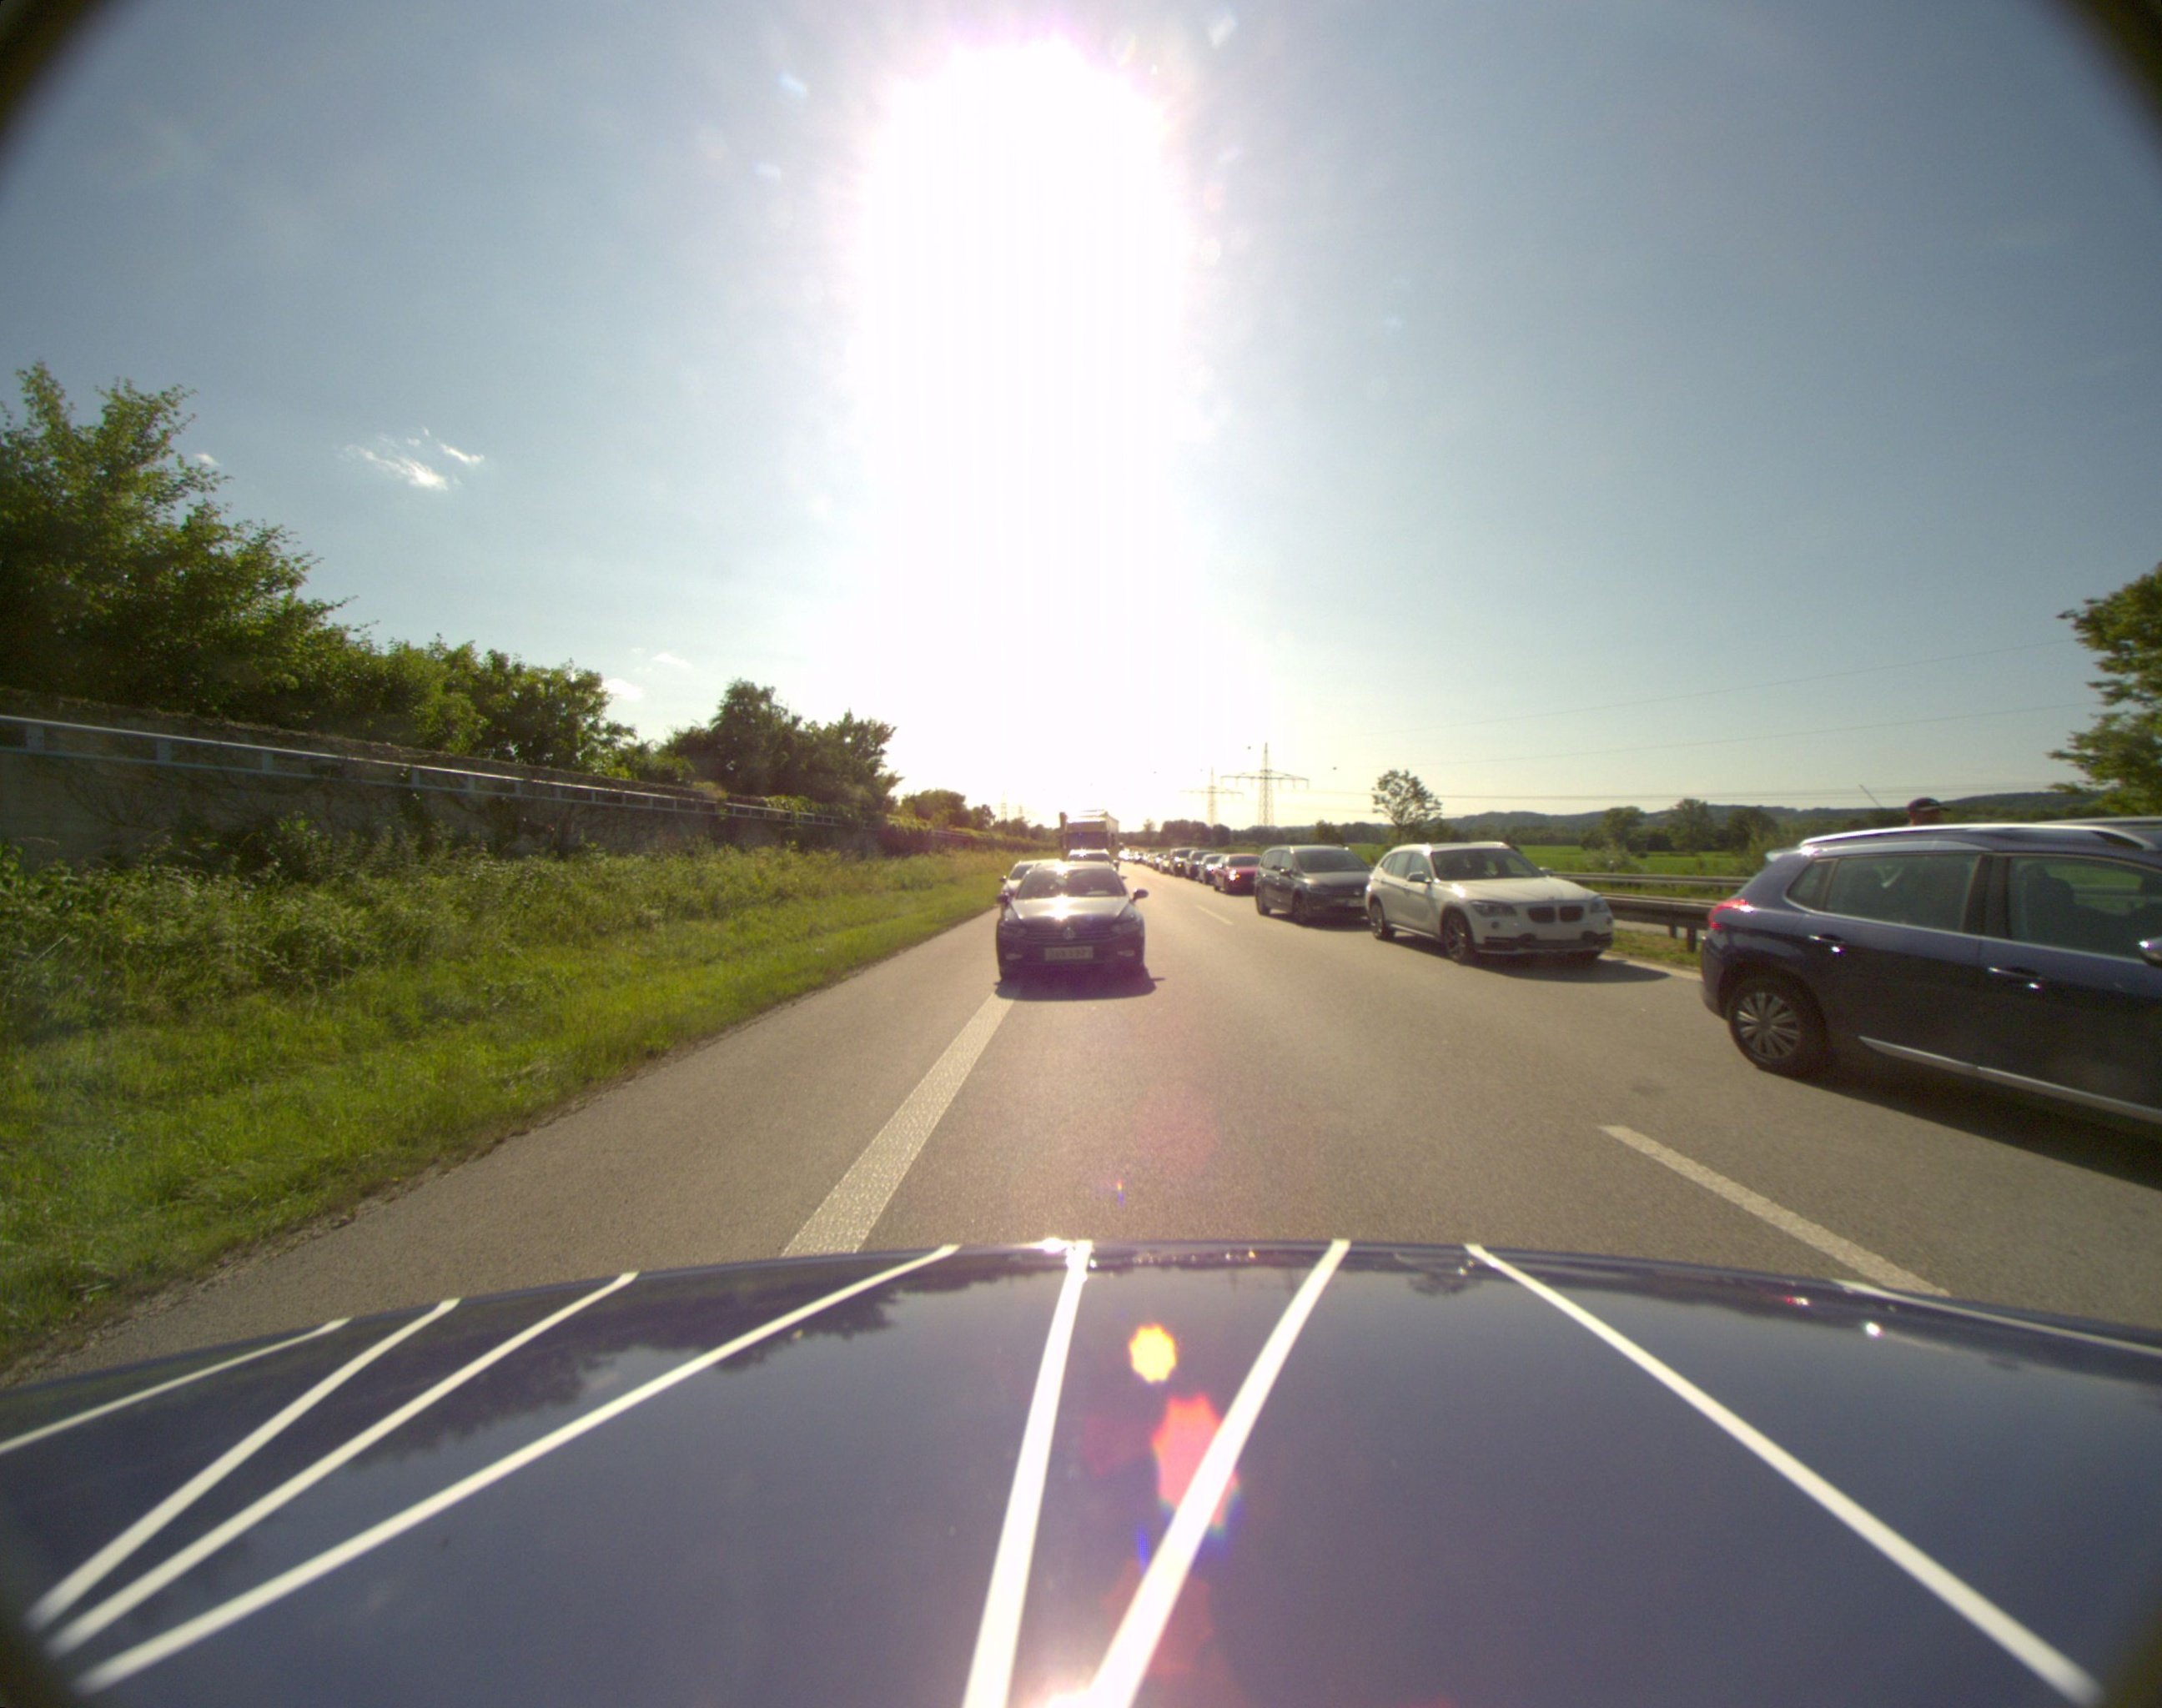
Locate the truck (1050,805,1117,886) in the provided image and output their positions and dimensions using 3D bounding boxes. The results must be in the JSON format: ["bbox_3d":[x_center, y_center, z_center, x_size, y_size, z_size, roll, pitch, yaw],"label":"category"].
[{"bbox_3d":[0.314,-0.486,43.341,3.332,4.089,6.970,-2,1,3],"label":"truck"}]

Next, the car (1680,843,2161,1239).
[{"bbox_3d":[5.138,0.744,3.394,1.692,1.526,3.948,-3,0,-2],"label":"car"}]

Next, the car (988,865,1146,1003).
[{"bbox_3d":[-0.094,0.933,10.675,1.716,1.405,4.326,-2,0,2],"label":"car"}]

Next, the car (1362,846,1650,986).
[{"bbox_3d":[5.621,0.700,10.756,1.832,1.564,4.164,-1,0,2],"label":"car"}]

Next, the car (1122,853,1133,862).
[{"bbox_3d":[8.056,0.566,131.587,1.819,1.450,4.118,0,0,3],"label":"car"}]

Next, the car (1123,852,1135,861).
[{"bbox_3d":[7.918,0.408,125.941,1.819,1.450,4.118,-2,0,3],"label":"car"}]

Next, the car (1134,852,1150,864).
[{"bbox_3d":[7.749,0.527,97.137,1.819,1.450,4.118,0,0,2],"label":"car"}]

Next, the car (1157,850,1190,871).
[{"bbox_3d":[6.911,0.464,57.061,1.998,1.522,4.000,-1,0,1],"label":"car"}]

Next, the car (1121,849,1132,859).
[{"bbox_3d":[8.489,0.067,140.916,1.813,1.783,3.773,-1,0,1],"label":"car"}]

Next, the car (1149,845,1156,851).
[{"bbox_3d":[22.462,-1.844,239.069,1.863,1.622,4.393,-2,1,3],"label":"car"}]

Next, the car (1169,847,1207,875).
[{"bbox_3d":[6.968,0.425,49.885,1.902,1.777,4.200,-1,0,1],"label":"car"}]

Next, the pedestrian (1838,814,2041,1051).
[{"bbox_3d":[6.702,0.579,5.982,0.672,1.740,0.814,-1,1,1],"label":"pedestrian"}]

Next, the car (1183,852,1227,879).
[{"bbox_3d":[6.972,0.613,43.014,1.894,1.446,4.000,-1,0,2],"label":"car"}]

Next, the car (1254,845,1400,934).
[{"bbox_3d":[5.113,0.664,16.413,1.819,1.606,4.117,-2,0,1],"label":"car"}]

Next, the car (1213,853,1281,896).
[{"bbox_3d":[6.084,0.706,28.236,1.819,1.450,4.118,0,0,3],"label":"car"}]

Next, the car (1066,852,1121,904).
[{"bbox_3d":[0.464,0.769,26.492,1.716,1.614,4.326,-2,0,2],"label":"car"}]

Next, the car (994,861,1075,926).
[{"bbox_3d":[-1.114,0.948,20.065,1.716,1.417,4.326,-2,0,2],"label":"car"}]

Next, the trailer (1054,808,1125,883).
[{"bbox_3d":[0.855,-0.576,49.428,3.386,4.089,13.956,-2,1,5],"label":"trailer"}]

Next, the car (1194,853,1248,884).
[{"bbox_3d":[6.728,0.670,36.927,1.895,1.390,4.000,-1,0,1],"label":"car"}]

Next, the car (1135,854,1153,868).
[{"bbox_3d":[7.158,0.769,86.453,1.819,1.450,4.117,-1,0,1],"label":"car"}]

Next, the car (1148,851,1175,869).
[{"bbox_3d":[6.992,0.514,66.355,1.998,1.522,4.000,-1,0,1],"label":"car"}]

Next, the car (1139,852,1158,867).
[{"bbox_3d":[7.081,0.571,79.860,1.819,1.450,4.118,-2,0,3],"label":"car"}]

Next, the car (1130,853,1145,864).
[{"bbox_3d":[7.768,0.567,105.566,1.819,1.450,4.117,-2,0,1],"label":"car"}]
